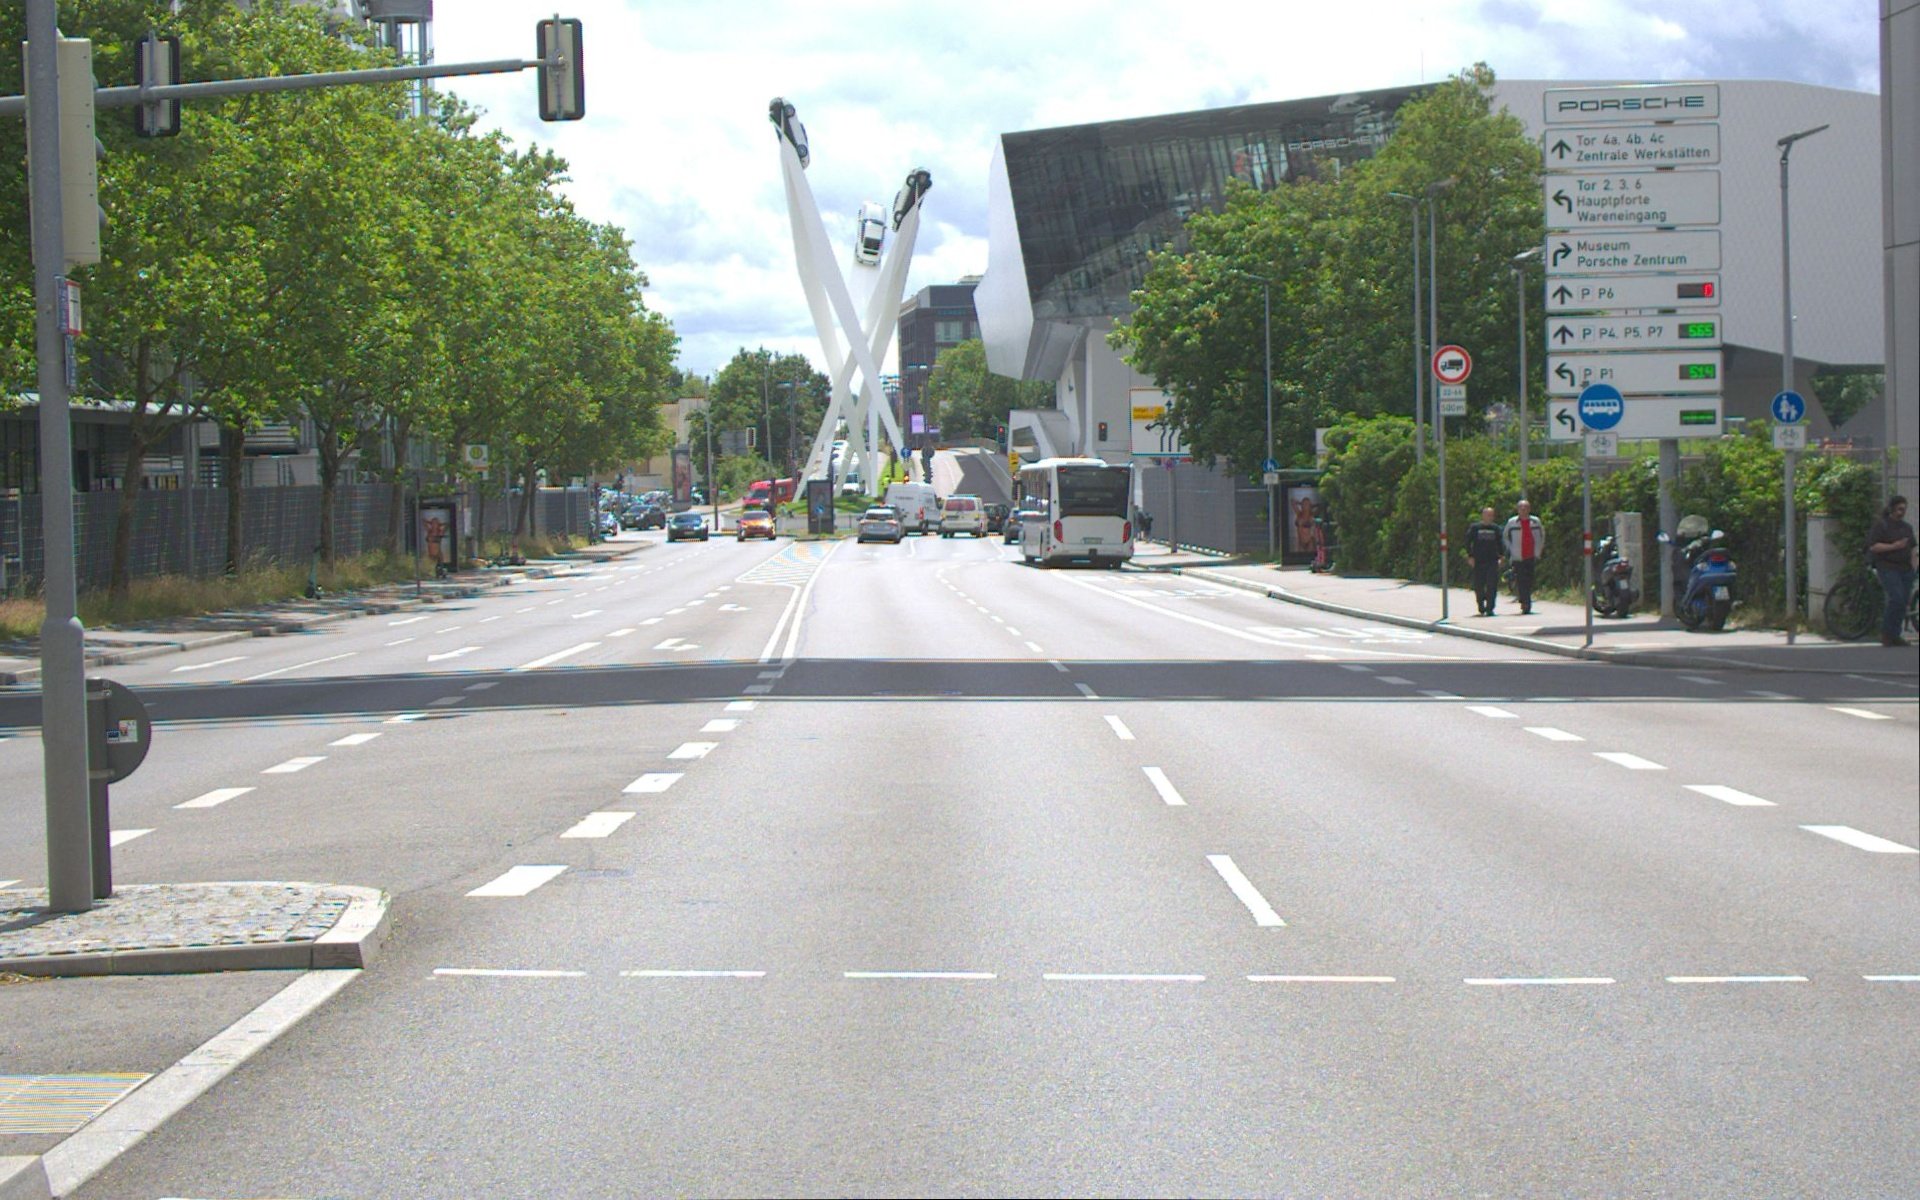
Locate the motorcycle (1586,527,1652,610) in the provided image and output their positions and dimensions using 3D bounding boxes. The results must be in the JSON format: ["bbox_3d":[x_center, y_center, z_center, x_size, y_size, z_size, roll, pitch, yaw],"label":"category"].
[{"bbox_3d":[10.097,-0.491,52.740,0.574,1.199,2.024,-2,2,-1],"label":"motorcycle"}]

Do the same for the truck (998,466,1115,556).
[{"bbox_3d":[4.897,-4.406,171.633,3.455,4.376,9.412,0,1,17],"label":"truck"}]

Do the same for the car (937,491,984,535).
[{"bbox_3d":[0.027,-4.166,165.563,1.994,2.007,3.999,1,0,3],"label":"car"}]

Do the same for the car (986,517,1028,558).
[{"bbox_3d":[2.028,-2.710,148.281,1.738,1.735,3.691,0,1,-1],"label":"car"}]

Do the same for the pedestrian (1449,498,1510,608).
[{"bbox_3d":[8.131,-0.741,53.855,0.820,1.701,0.881,0,1,-1],"label":"pedestrian"}]

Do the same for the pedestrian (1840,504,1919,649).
[{"bbox_3d":[10.631,-0.276,39.141,0.849,1.619,0.954,1,1,41],"label":"pedestrian"}]

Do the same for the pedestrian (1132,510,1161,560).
[{"bbox_3d":[7.588,-2.624,139.683,1.028,2.007,0.885,1,0,-4],"label":"pedestrian"}]

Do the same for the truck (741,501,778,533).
[{"bbox_3d":[-9.670,-4.005,165.454,1.583,1.532,3.679,0,1,-6],"label":"truck"}]

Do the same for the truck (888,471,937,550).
[{"bbox_3d":[-2.373,-4.441,172.090,2.392,3.884,6.177,0,1,-1],"label":"truck"}]

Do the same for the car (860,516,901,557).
[{"bbox_3d":[-3.425,-2.753,148.740,1.738,1.735,3.691,0,1,-1],"label":"car"}]

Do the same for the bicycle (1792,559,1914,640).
[{"bbox_3d":[10.620,-0.016,40.963,0.397,0.933,1.929,0,1,-19],"label":"bicycle"}]

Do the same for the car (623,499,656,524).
[{"bbox_3d":[-20.492,-5.669,219.915,1.818,1.532,3.679,-2,1,-2],"label":"car"}]

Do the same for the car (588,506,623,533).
[{"bbox_3d":[-21.491,-4.884,208.698,1.818,1.532,3.679,-2,1,-2],"label":"car"}]

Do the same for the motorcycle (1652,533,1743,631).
[{"bbox_3d":[9.615,-0.246,44.883,0.706,1.199,2.024,-2,2,-1],"label":"motorcycle"}]

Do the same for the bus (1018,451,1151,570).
[{"bbox_3d":[3.799,-2.781,107.927,3.452,3.531,10.607,0,1,-2],"label":"bus"}]

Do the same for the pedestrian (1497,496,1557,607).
[{"bbox_3d":[8.880,-0.758,53.845,0.820,1.735,0.637,0,1,-1],"label":"pedestrian"}]

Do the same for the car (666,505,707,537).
[{"bbox_3d":[-13.681,-3.958,171.977,1.818,1.532,3.679,-2,1,-2],"label":"car"}]
